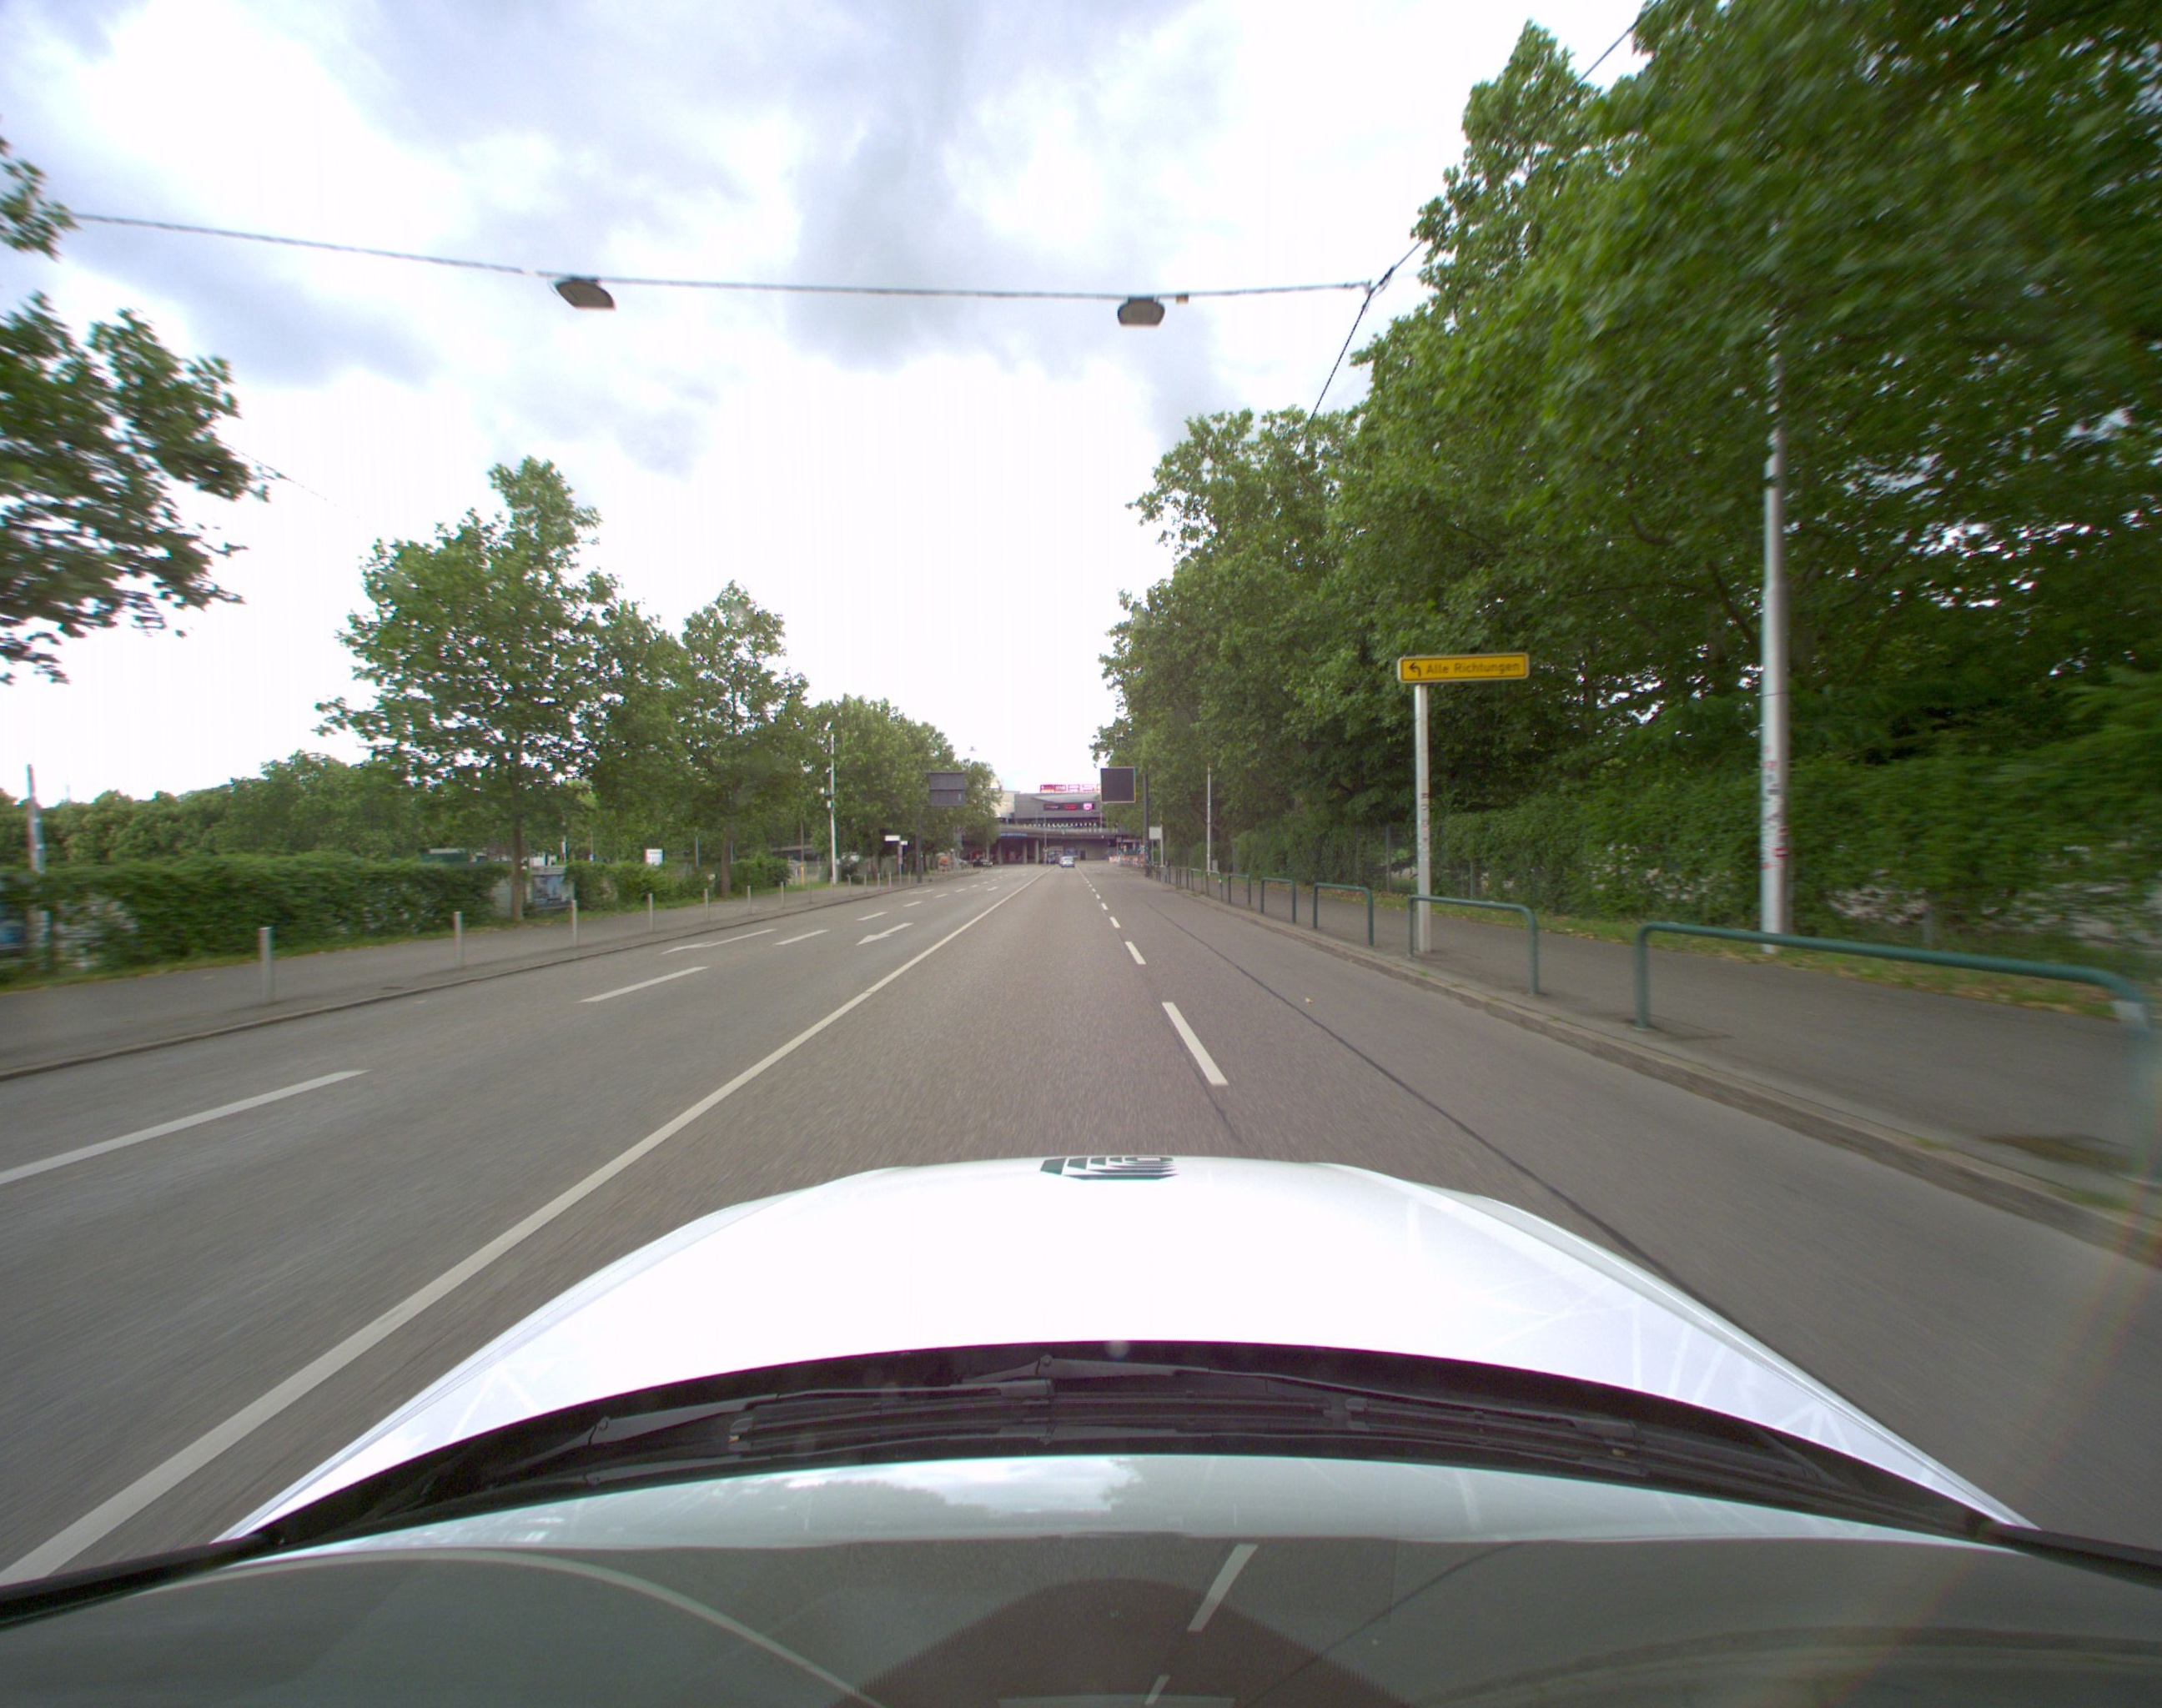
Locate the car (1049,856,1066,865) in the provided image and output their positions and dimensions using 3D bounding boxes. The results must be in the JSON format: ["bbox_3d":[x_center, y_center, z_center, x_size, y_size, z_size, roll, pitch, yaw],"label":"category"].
[{"bbox_3d":[-4.528,1.230,156.590,2.014,1.698,4.041,-1,0,-21],"label":"car"}]

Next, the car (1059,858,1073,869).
[{"bbox_3d":[-2.058,1.343,113.192,1.772,1.460,3.821,0,0,0],"label":"car"}]

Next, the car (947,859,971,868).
[{"bbox_3d":[-22.078,1.694,147.513,3.838,1.578,1.634,-2,0,18],"label":"car"}]

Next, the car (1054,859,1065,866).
[{"bbox_3d":[-3.537,1.422,135.479,1.412,1.113,3.026,1,0,-11],"label":"car"}]

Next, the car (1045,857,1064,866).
[{"bbox_3d":[-4.917,1.390,149.100,2.004,1.486,3.966,-1,0,-26],"label":"car"}]

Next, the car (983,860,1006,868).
[{"bbox_3d":[-14.221,1.658,134.179,3.538,1.272,1.672,0,0,31],"label":"car"}]
